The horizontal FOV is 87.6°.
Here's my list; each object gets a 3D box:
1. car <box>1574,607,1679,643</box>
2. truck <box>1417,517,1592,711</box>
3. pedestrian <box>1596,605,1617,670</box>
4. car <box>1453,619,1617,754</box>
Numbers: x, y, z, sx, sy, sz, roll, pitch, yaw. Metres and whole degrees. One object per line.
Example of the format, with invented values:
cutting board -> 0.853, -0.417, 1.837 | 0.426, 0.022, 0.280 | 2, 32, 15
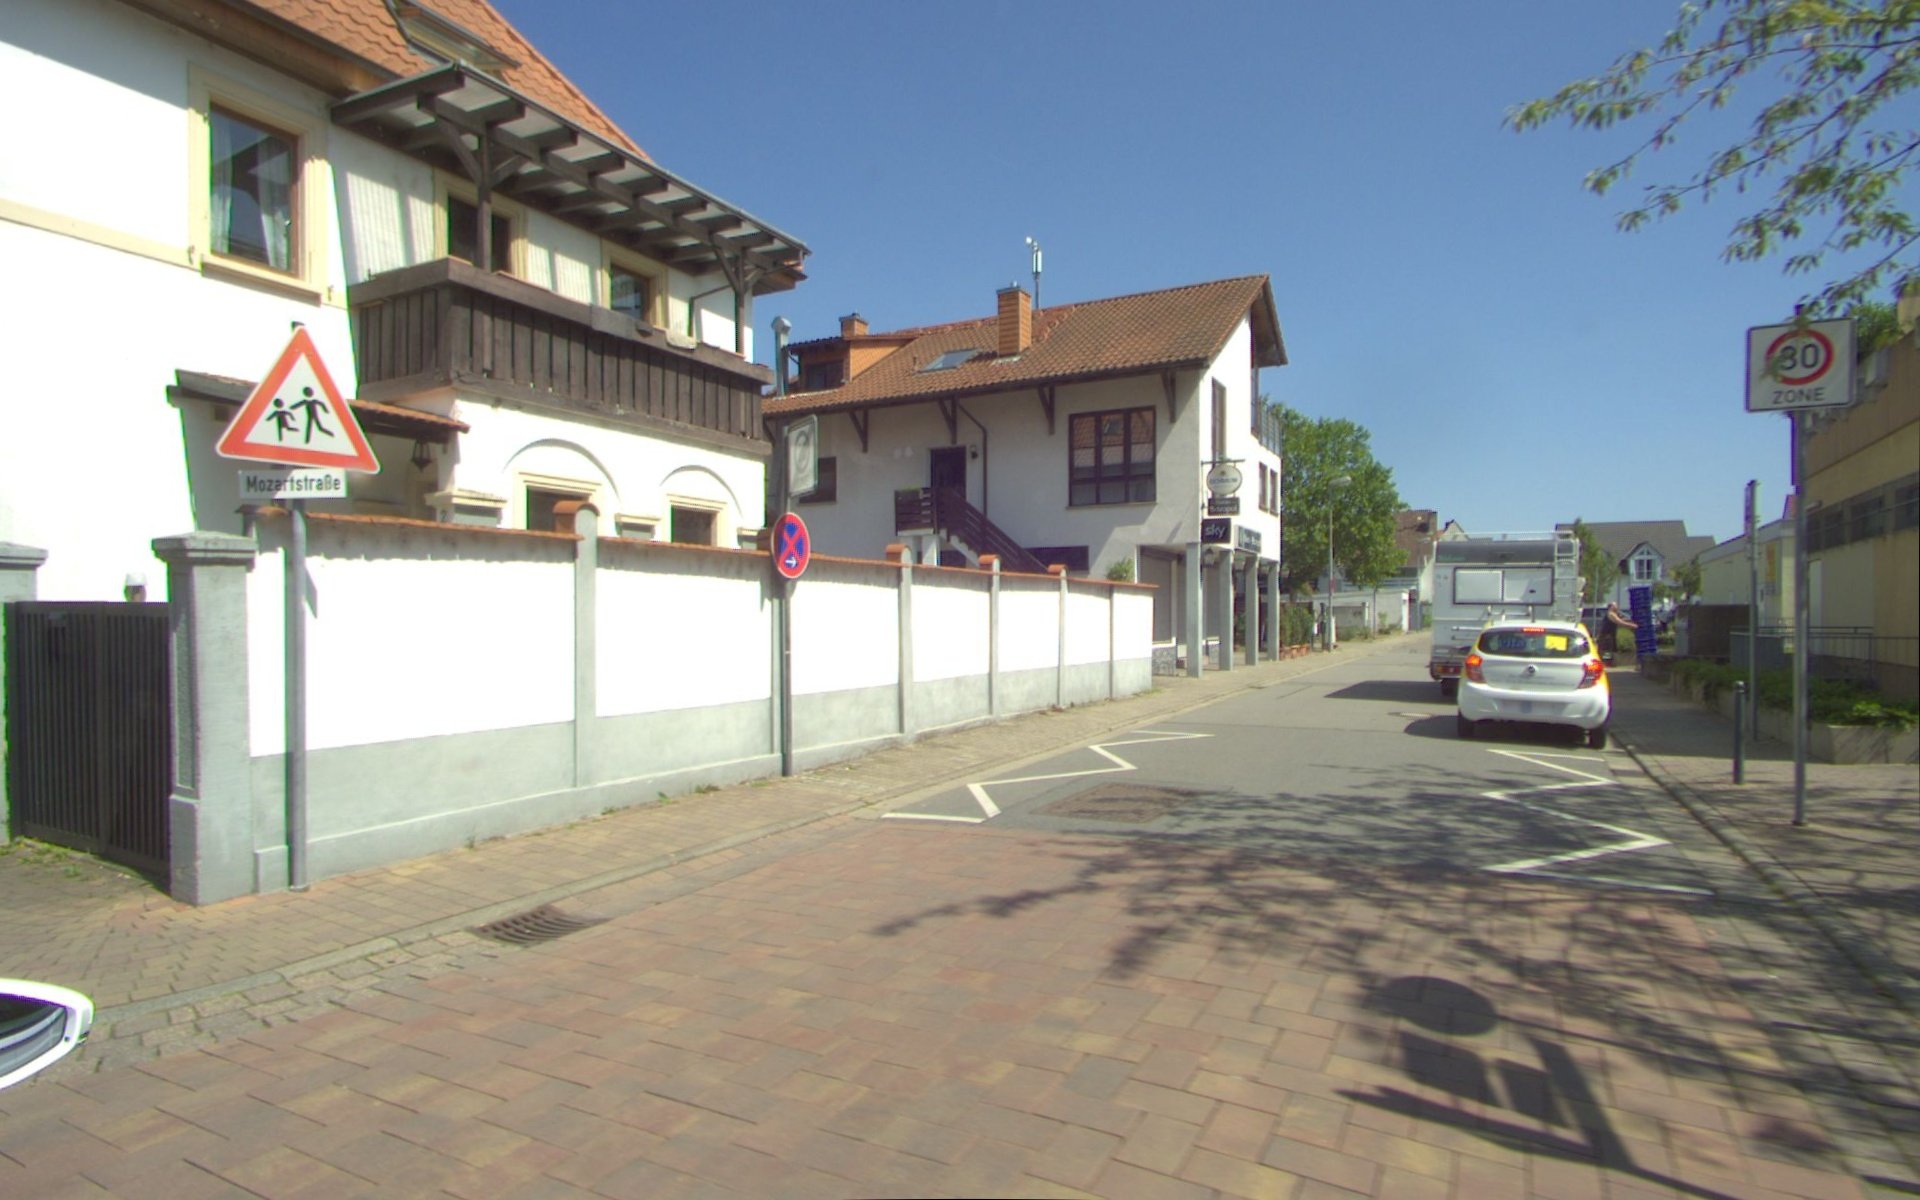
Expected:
car -> 30.888, 1.171, 46.531 | 3.874, 1.596, 1.652 | -1, -2, 27
truck -> 10.445, 0.277, 19.057 | 2.507, 3.045, 6.375 | 0, -1, 31
pedestrian -> 17.711, 1.006, 27.442 | 0.494, 1.754, 0.756 | 0, 0, 33
car -> 7.531, 1.000, 13.178 | 1.630, 1.471, 3.610 | 1, 0, 30
